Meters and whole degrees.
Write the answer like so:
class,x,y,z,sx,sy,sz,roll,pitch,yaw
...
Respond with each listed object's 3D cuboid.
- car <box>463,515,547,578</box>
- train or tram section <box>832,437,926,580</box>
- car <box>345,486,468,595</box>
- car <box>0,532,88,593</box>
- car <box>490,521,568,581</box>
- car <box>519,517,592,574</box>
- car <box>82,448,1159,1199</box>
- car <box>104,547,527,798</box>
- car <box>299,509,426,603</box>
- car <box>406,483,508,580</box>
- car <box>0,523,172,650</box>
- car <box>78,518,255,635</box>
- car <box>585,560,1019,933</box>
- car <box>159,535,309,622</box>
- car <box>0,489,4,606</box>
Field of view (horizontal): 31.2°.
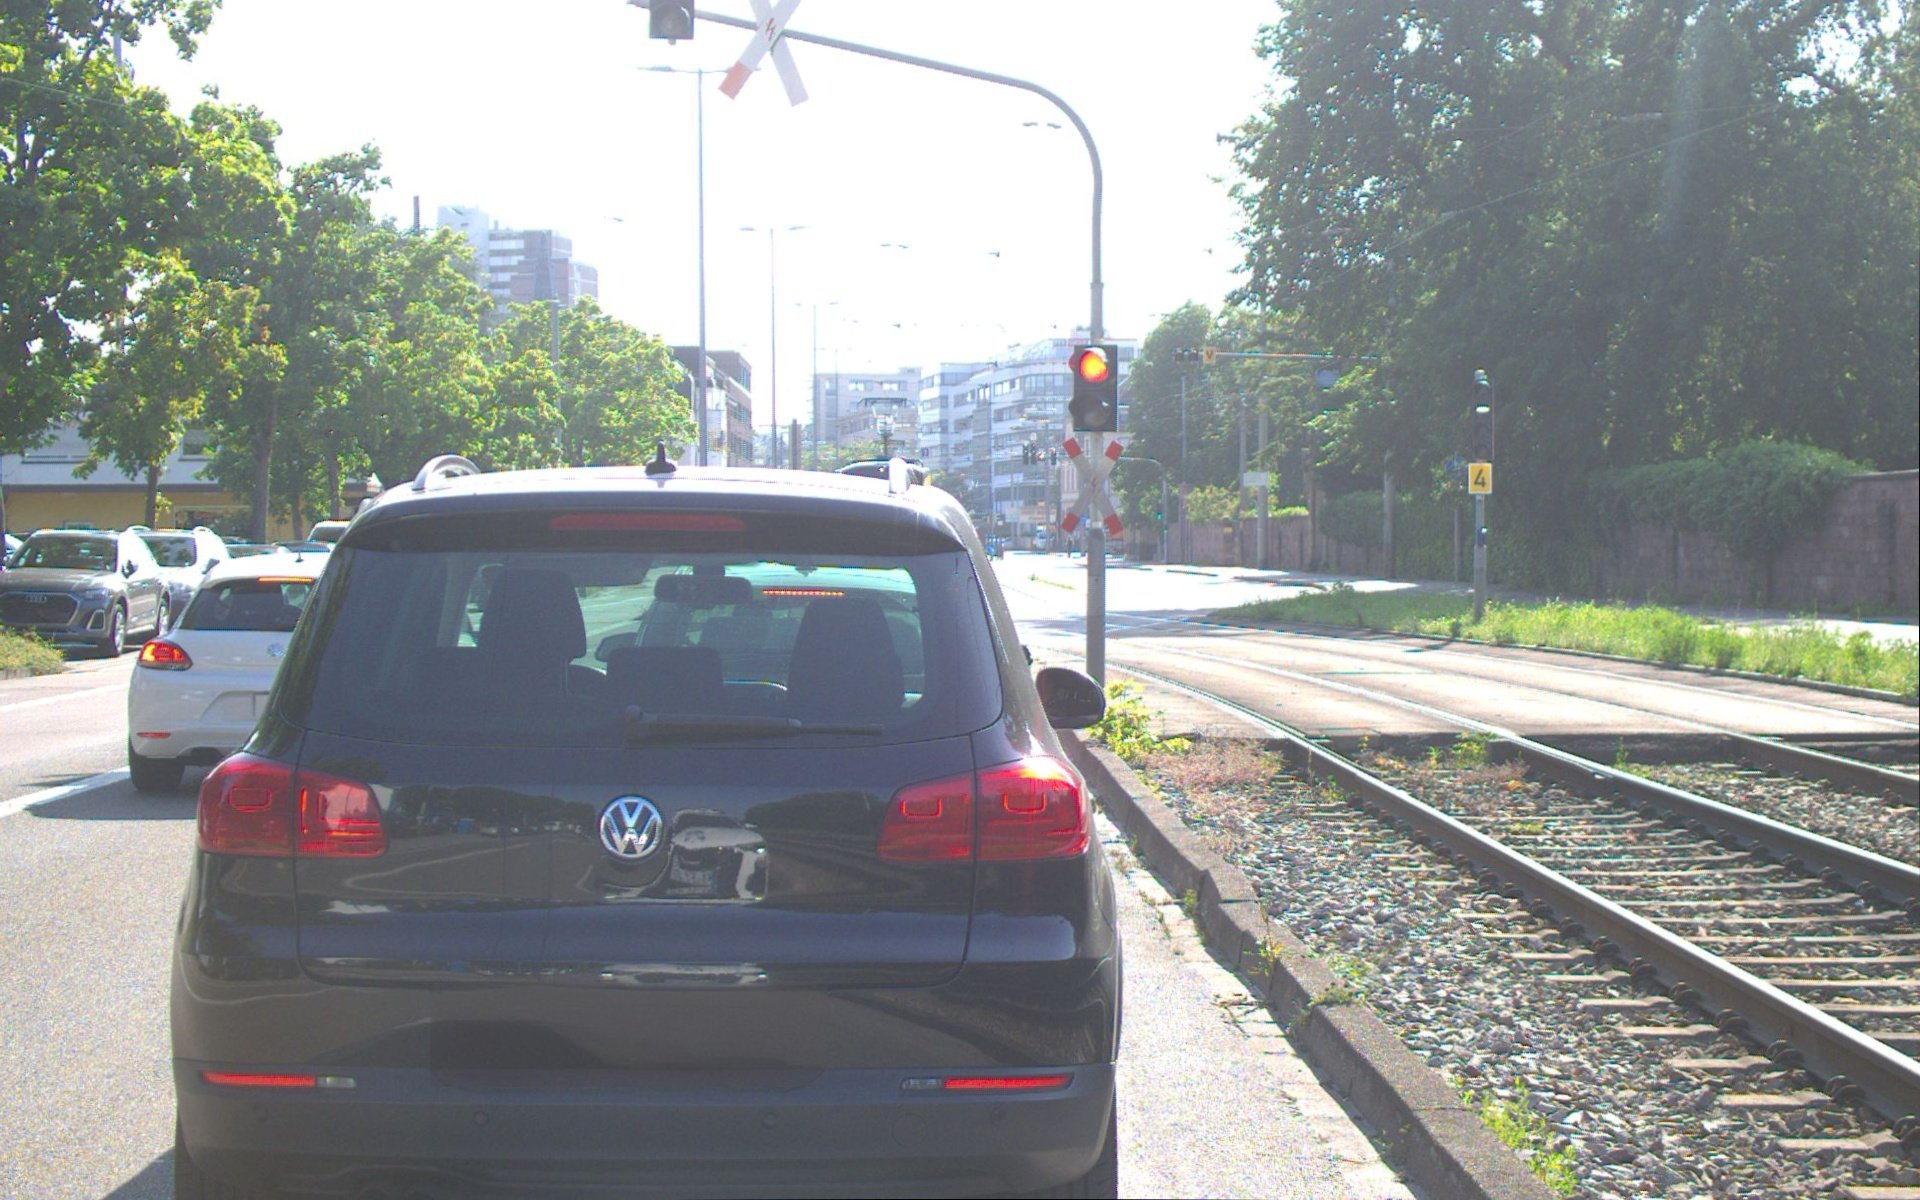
class,x,y,z,sx,sy,sz,roll,pitch,yaw
car,-12.601,-1.499,95.326,1.732,1.689,4.000,0,2,1
train or tram section,-2.089,-2.408,90.843,2.326,3.558,8.901,-1,1,-1
car,-12.321,-1.338,76.850,1.863,2.339,4.985,-1,1,1
car,-22.707,-0.876,80.861,3.986,1.392,1.738,-1,1,-4
car,-12.699,-1.467,101.392,1.732,1.689,4.000,0,2,1
car,-12.534,-1.707,106.709,1.732,1.689,4.000,0,2,1
car,-0.601,0.540,7.832,1.811,1.639,4.000,1,1,-1
car,-3.807,0.369,20.964,1.864,1.343,4.000,0,1,-1
car,-12.156,-0.924,70.182,1.732,1.853,4.489,-1,1,1
car,-12.213,-1.675,83.675,1.732,2.261,4.645,-1,1,1
car,-12.143,-0.217,47.068,1.732,1.652,4.000,-1,1,1
car,-12.144,-0.394,52.827,1.732,1.689,4.000,0,2,1
car,-0.633,0.545,15.324,1.669,1.382,4.000,-1,1,-1
car,-12.417,-0.387,58.986,1.732,1.384,3.735,0,2,1
car,-22.436,-1.031,69.938,5.375,2.415,2.088,-1,1,0
